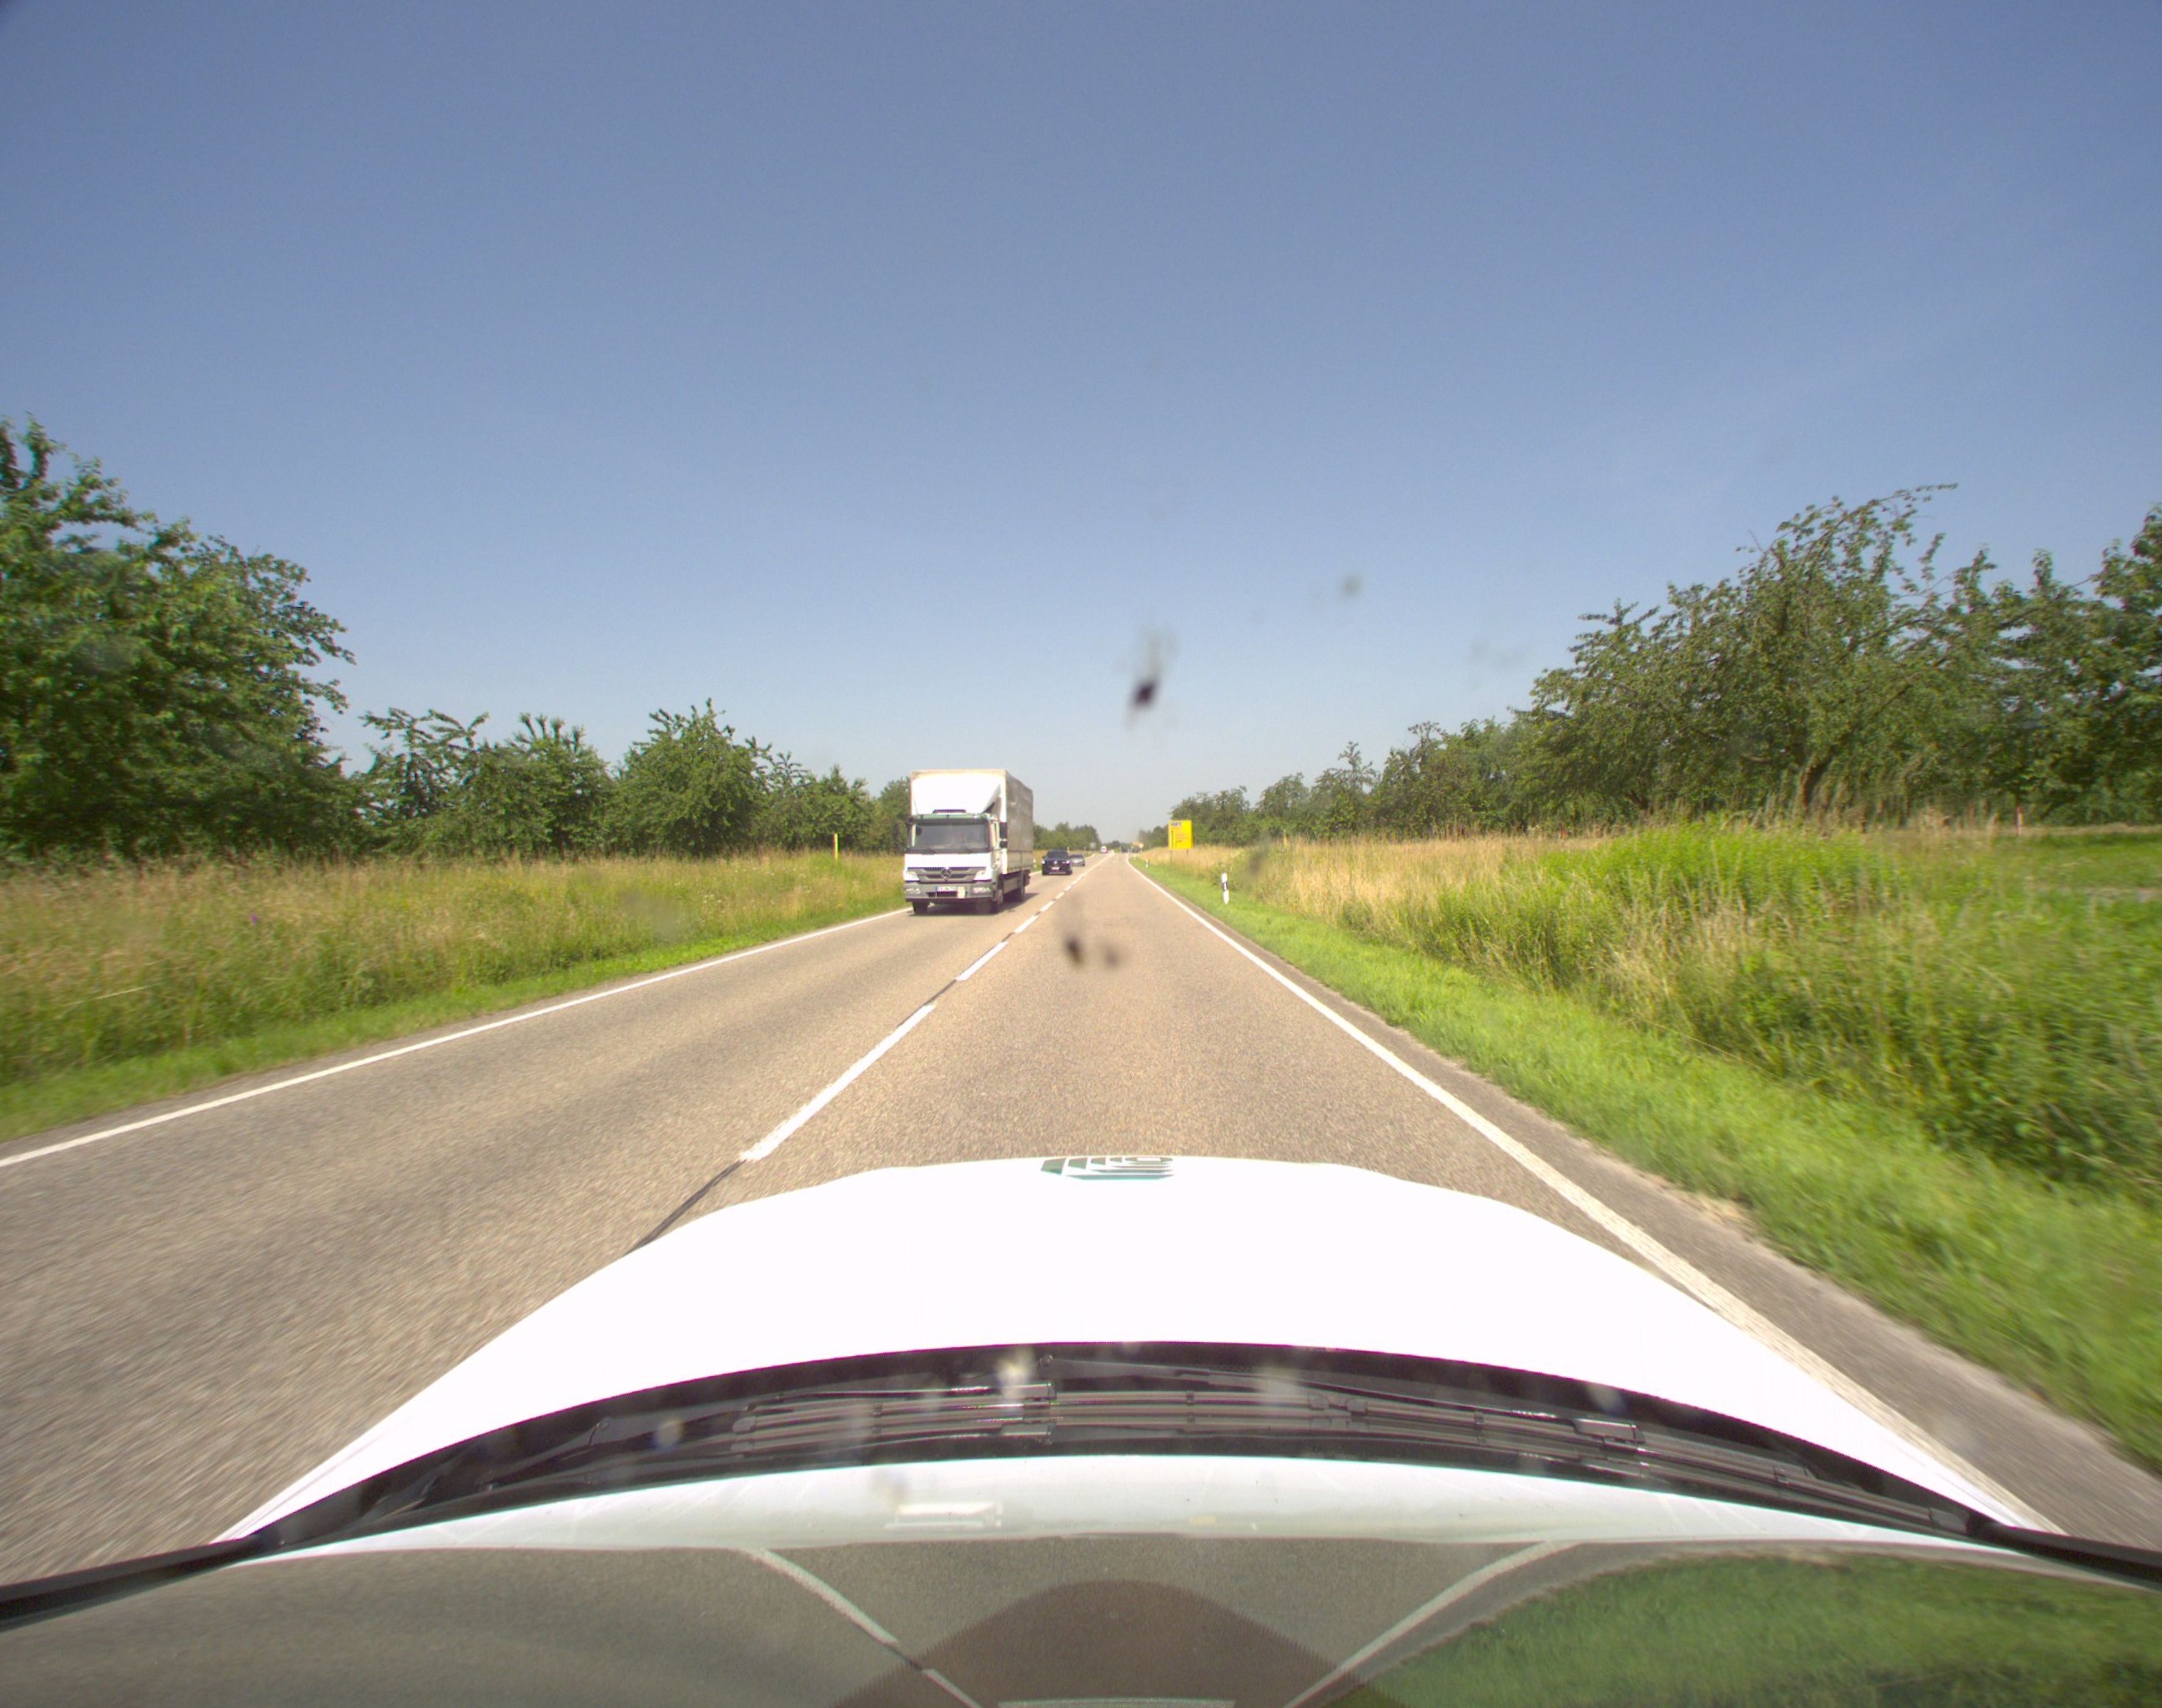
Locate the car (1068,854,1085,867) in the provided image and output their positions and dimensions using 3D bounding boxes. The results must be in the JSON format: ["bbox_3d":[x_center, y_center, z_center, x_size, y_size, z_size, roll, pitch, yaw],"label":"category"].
[{"bbox_3d":[-0.463,0.676,90.896,1.684,1.408,4.896,-1,0,2],"label":"car"}]

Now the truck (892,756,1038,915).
[{"bbox_3d":[-3.107,-0.457,25.028,2.655,3.838,10.212,-1,0,2],"label":"truck"}]

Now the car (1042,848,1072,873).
[{"bbox_3d":[-1.613,0.428,56.185,1.829,1.678,4.412,-1,0,1],"label":"car"}]
